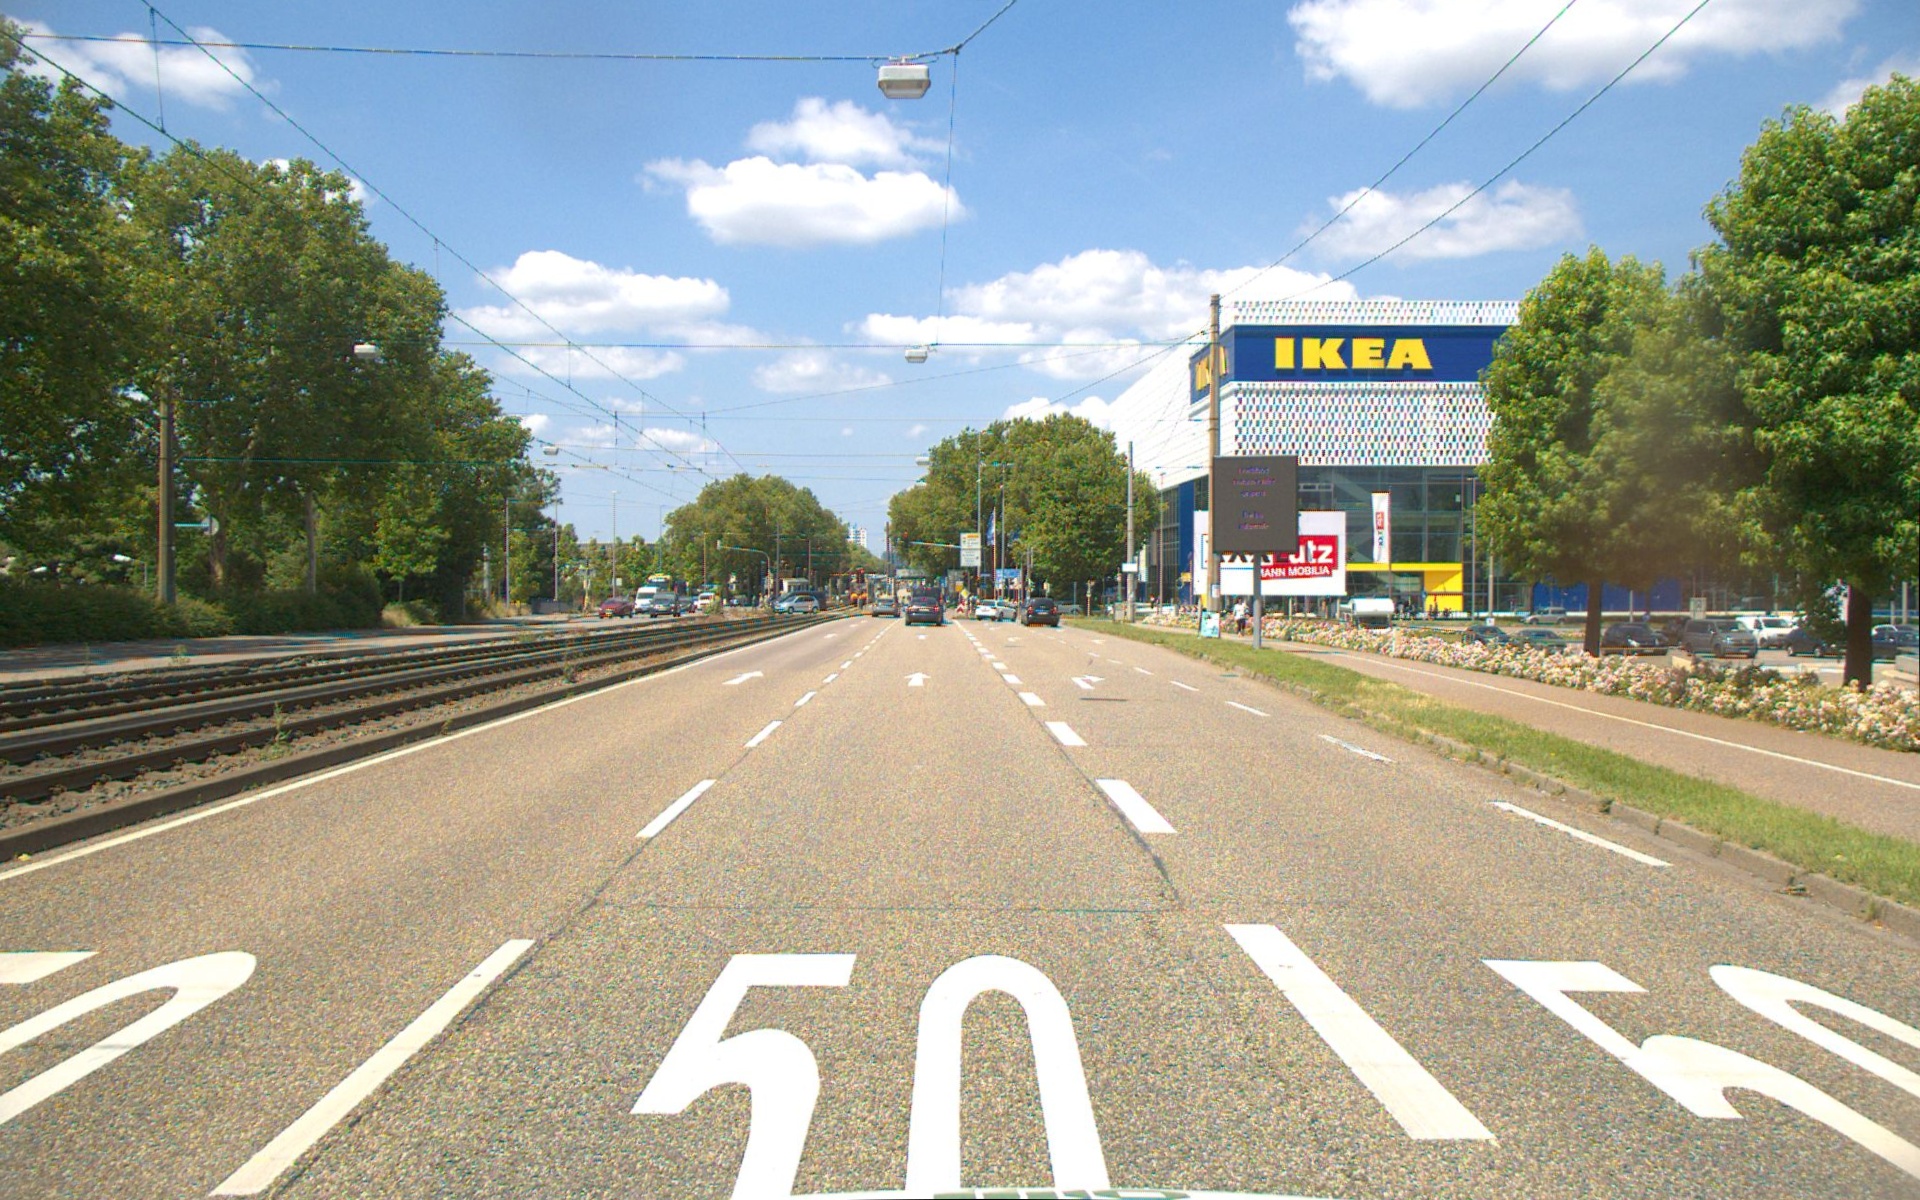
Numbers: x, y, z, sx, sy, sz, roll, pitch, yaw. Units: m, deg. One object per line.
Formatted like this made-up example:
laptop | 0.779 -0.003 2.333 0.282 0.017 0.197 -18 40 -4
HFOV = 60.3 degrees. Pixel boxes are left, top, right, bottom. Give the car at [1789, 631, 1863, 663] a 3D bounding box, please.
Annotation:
car | 46.774 2.517 89.431 1.705 1.567 3.997 1 0 -4

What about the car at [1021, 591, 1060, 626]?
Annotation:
car | 4.437 0.445 91.670 1.861 1.837 3.976 1 0 -1

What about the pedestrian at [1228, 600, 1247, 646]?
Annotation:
pedestrian | 11.086 0.902 66.081 0.568 1.823 0.589 1 0 -4

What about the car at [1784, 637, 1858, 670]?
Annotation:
car | 43.645 2.685 83.940 1.540 1.508 3.886 1 0 -3

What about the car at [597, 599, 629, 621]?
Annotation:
car | -25.725 0.715 122.803 1.590 1.577 3.982 1 0 -2

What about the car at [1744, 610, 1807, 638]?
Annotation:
car | 50.203 1.467 101.899 1.705 1.567 3.997 1 0 -4

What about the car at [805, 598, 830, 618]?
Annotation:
car | -11.480 0.626 133.373 1.806 1.577 3.774 2 0 -3

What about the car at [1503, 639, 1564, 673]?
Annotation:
car | 29.058 2.826 83.906 1.540 1.508 3.886 1 0 -3

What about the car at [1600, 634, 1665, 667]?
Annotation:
car | 34.230 2.553 84.255 1.540 1.508 3.886 1 0 -3

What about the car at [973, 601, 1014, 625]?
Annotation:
car | 2.367 0.929 117.493 1.650 1.577 3.984 2 0 21

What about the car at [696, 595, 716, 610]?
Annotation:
car | -27.759 0.218 180.754 1.590 1.577 3.702 1 0 -2

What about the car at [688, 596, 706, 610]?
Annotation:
car | -30.972 0.342 194.922 1.590 1.577 3.702 1 0 -2

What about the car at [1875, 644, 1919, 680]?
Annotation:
car | 42.939 2.801 74.101 1.540 1.508 3.886 1 0 -3

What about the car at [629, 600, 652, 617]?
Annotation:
car | -30.687 0.820 158.951 1.590 1.577 3.702 1 0 -2

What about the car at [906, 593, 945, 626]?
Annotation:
car | -1.763 0.458 83.363 1.838 1.566 3.775 1 0 -2

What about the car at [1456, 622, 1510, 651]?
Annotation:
car | 31.338 2.163 99.255 1.705 1.567 3.997 1 0 -4

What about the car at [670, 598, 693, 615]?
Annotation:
car | -26.894 0.633 159.714 1.590 1.577 3.702 1 0 -2

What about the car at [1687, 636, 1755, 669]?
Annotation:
car | 38.768 2.673 84.338 1.540 1.508 3.886 1 0 -3

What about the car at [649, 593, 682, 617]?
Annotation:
car | -20.077 0.312 113.002 1.590 1.577 3.982 2 0 -2

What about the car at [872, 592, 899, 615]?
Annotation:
car | -5.247 0.219 116.638 1.806 1.577 3.774 2 0 -3

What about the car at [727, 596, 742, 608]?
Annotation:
car | -30.314 0.310 222.384 1.591 1.577 3.702 1 0 -2

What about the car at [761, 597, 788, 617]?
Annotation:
car | -15.319 0.536 136.812 1.805 1.577 3.775 2 0 -2
